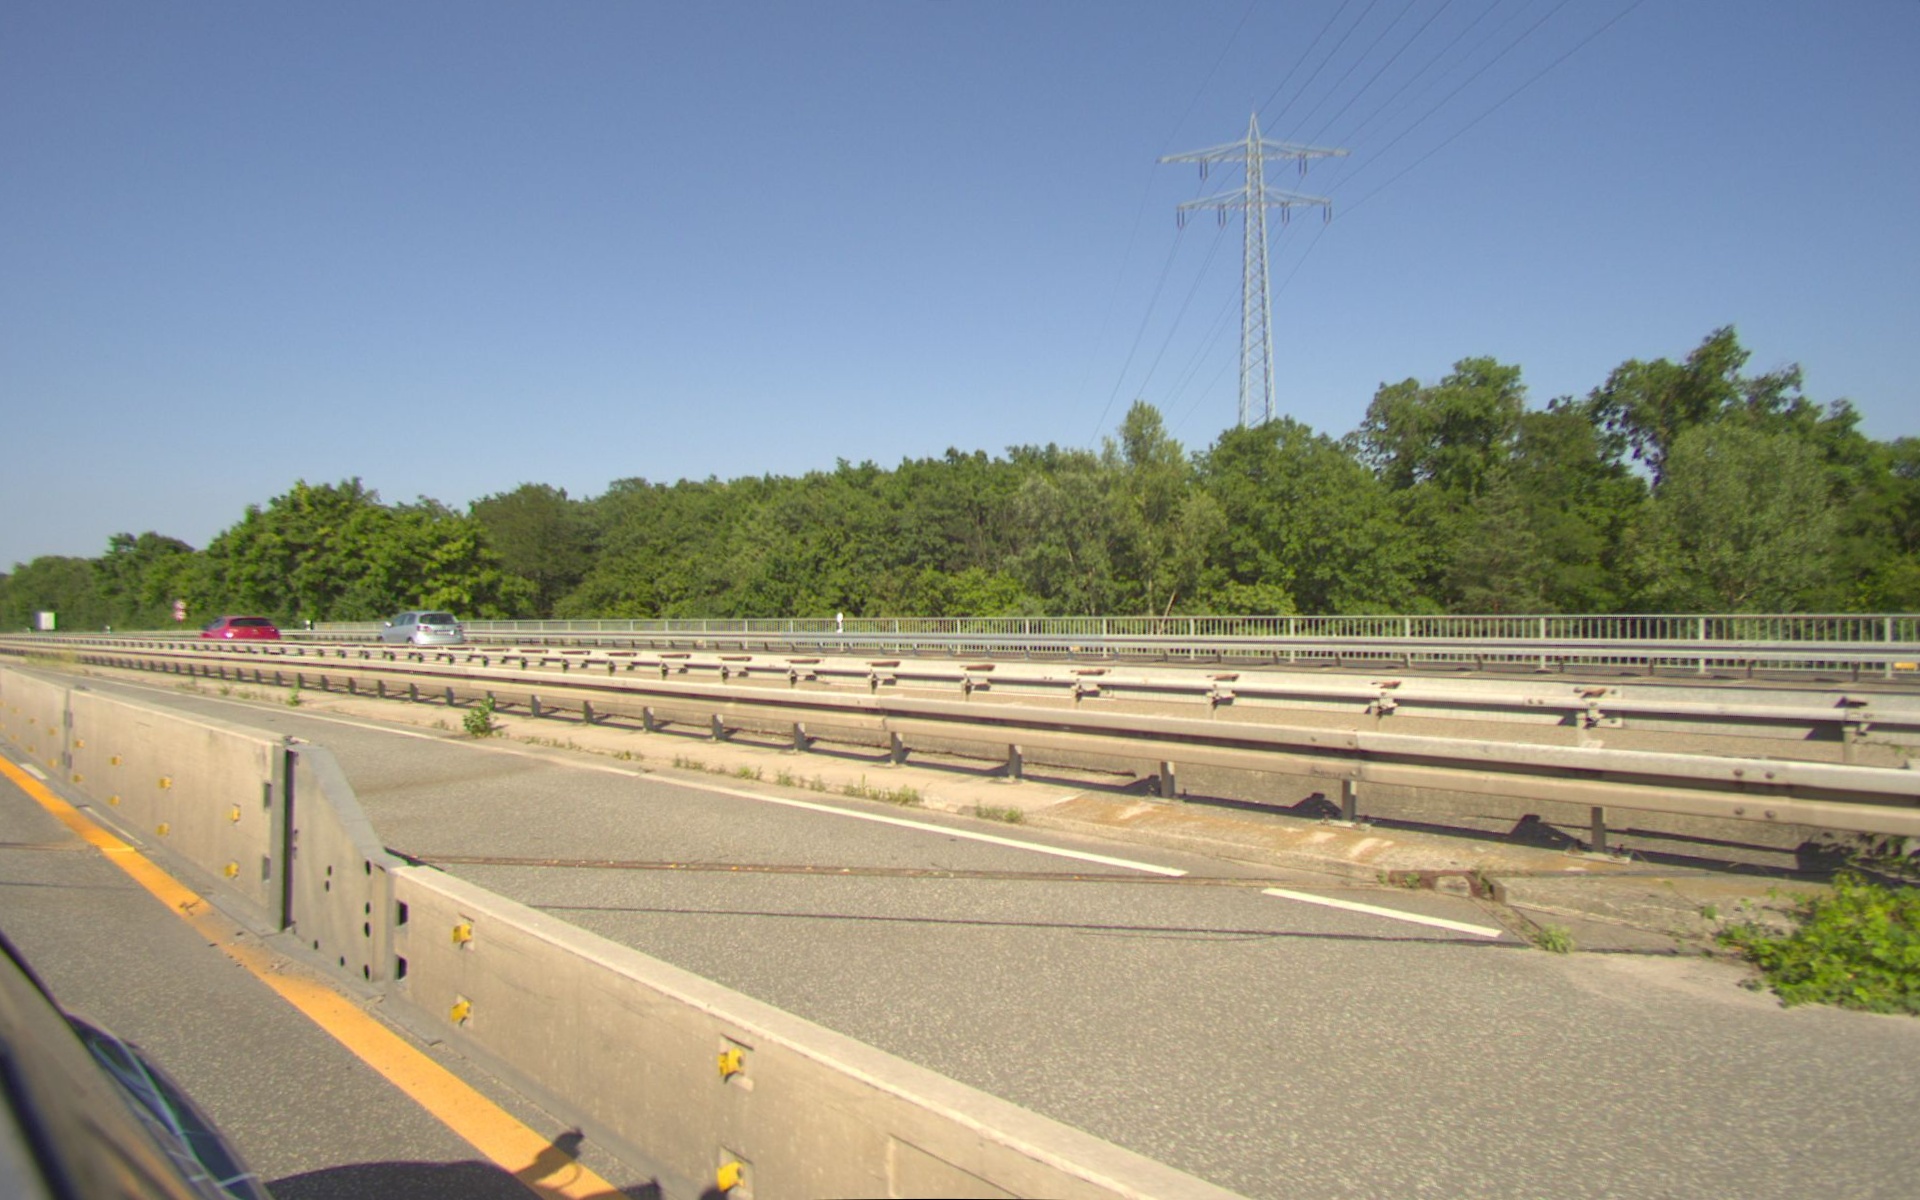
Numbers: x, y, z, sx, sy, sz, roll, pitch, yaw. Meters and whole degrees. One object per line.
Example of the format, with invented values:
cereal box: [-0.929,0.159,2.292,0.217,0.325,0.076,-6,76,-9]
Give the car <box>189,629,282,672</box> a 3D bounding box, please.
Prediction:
car: [-25.669,1.755,35.810,4.218,1.407,1.697,-2,-1,40]

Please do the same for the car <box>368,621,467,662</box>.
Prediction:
car: [-19.509,1.466,36.347,4.123,1.403,1.759,-2,-2,41]
